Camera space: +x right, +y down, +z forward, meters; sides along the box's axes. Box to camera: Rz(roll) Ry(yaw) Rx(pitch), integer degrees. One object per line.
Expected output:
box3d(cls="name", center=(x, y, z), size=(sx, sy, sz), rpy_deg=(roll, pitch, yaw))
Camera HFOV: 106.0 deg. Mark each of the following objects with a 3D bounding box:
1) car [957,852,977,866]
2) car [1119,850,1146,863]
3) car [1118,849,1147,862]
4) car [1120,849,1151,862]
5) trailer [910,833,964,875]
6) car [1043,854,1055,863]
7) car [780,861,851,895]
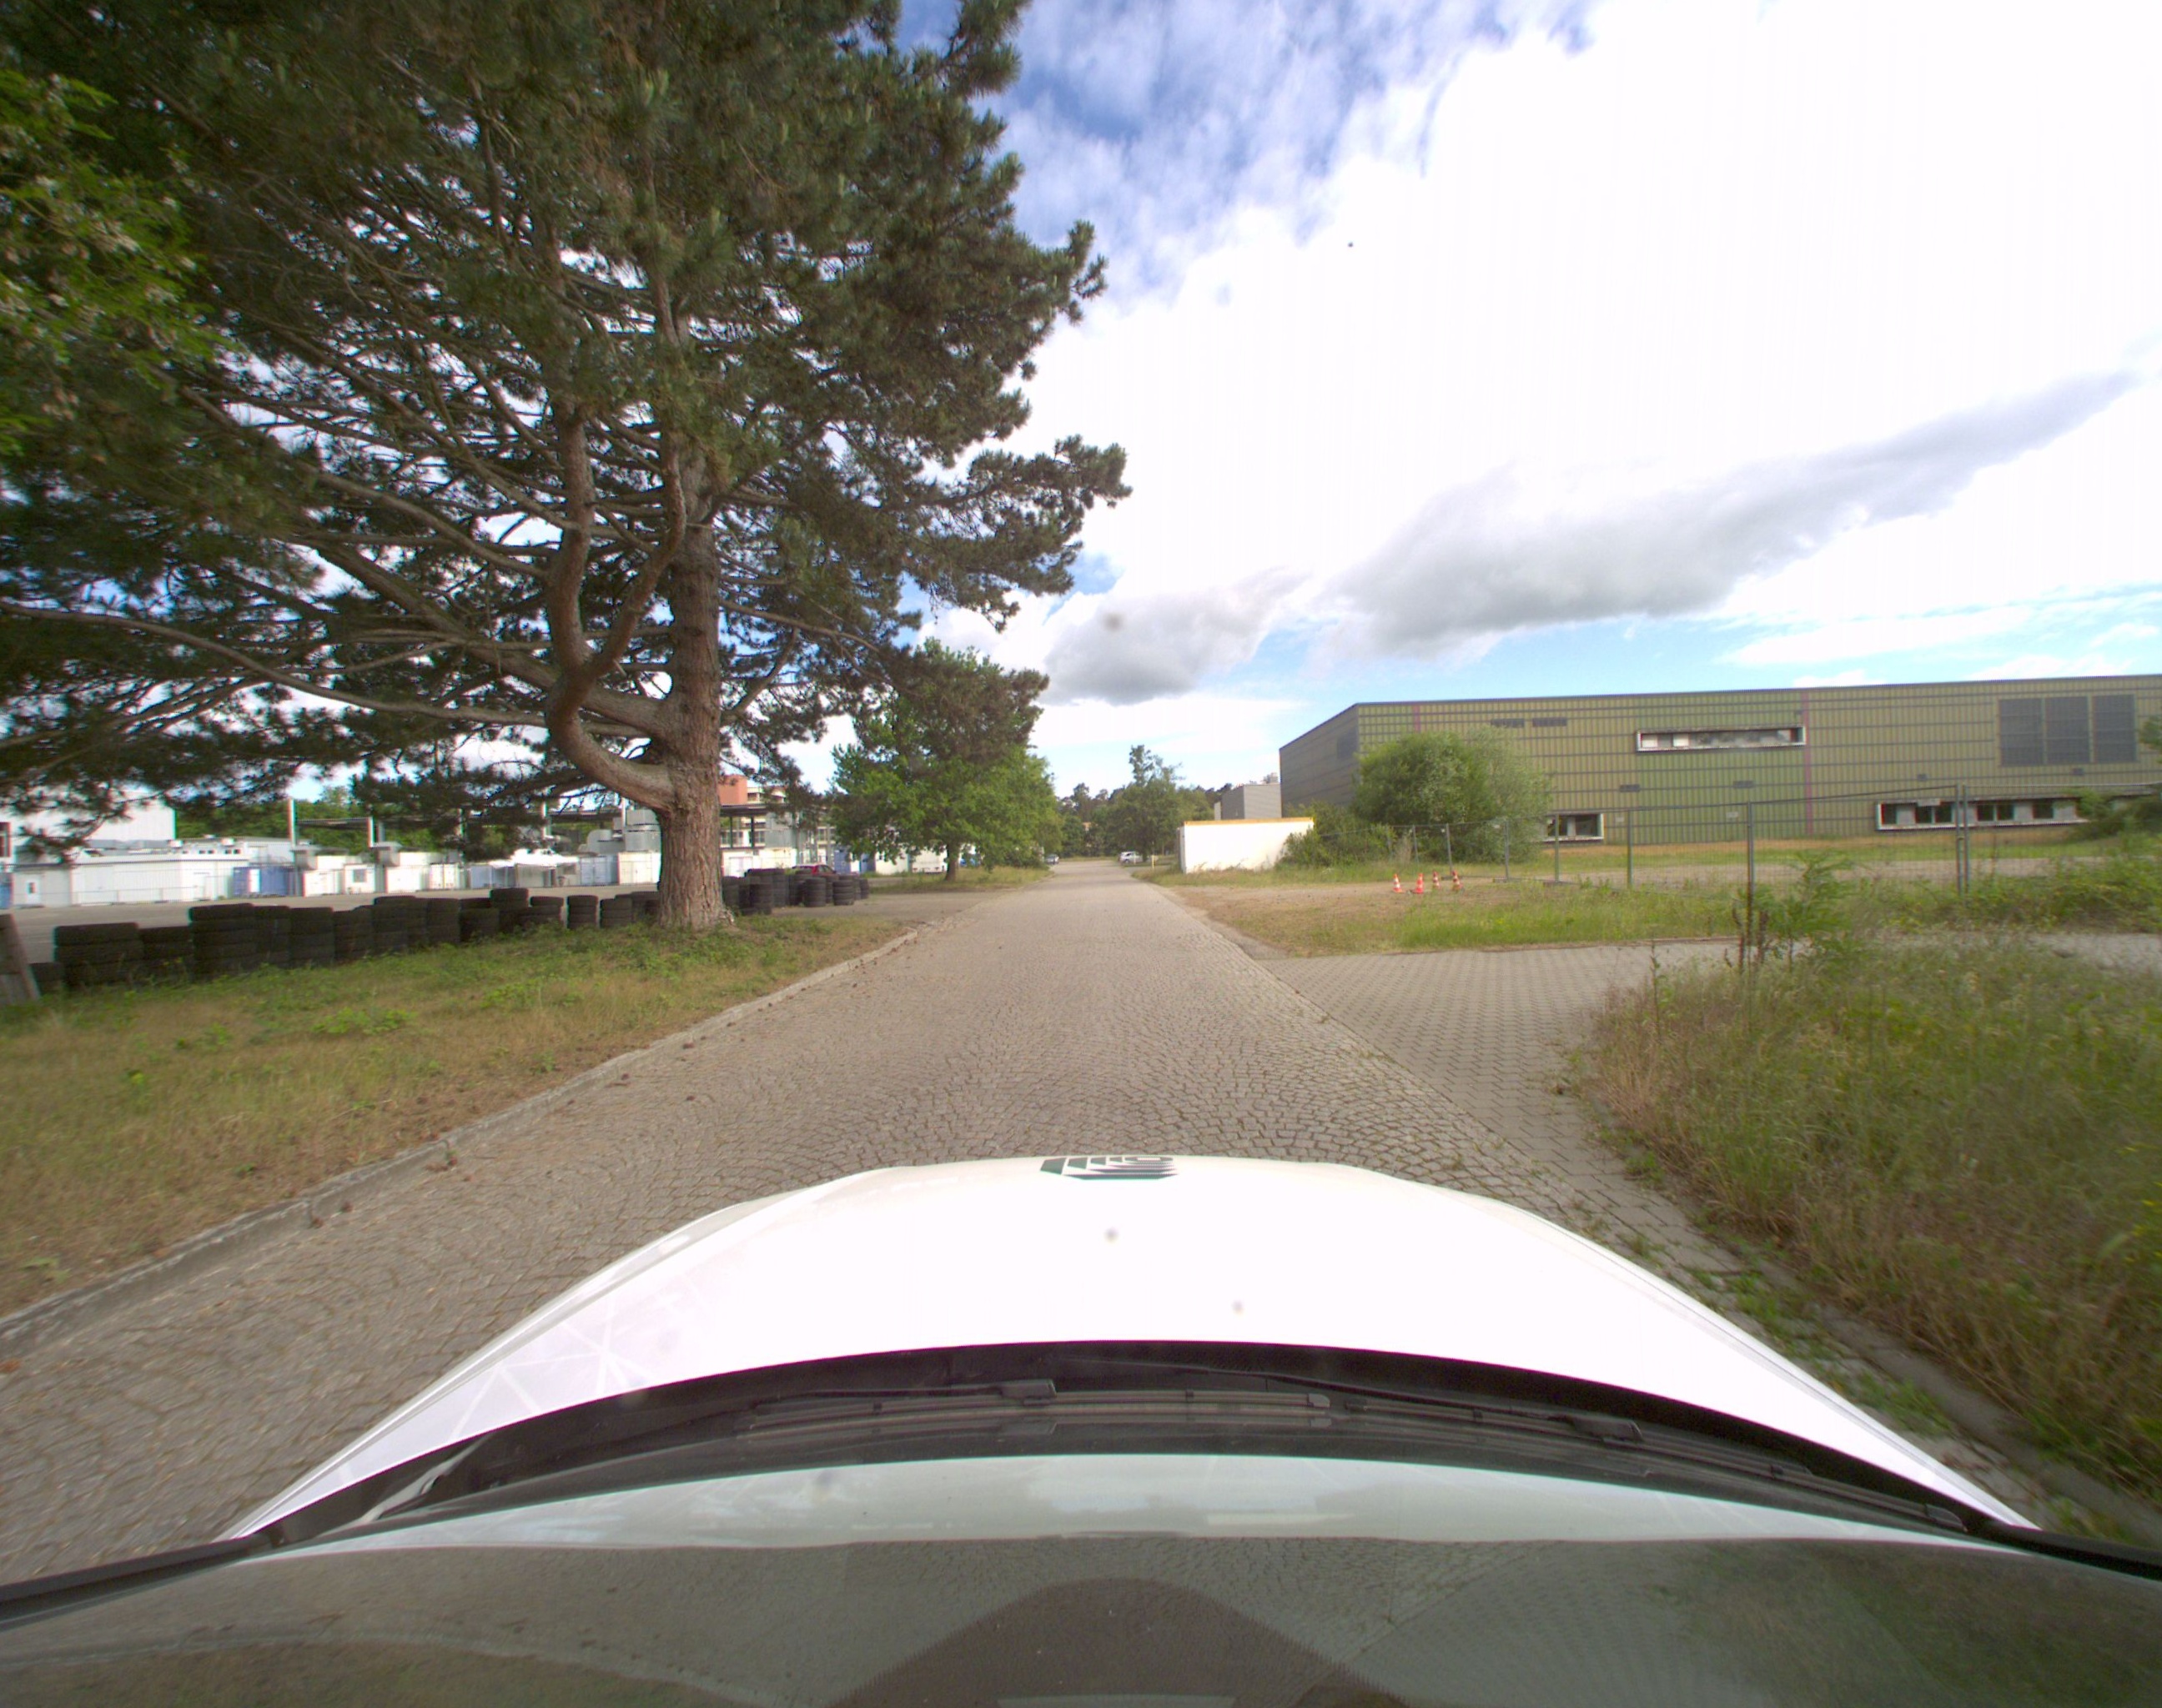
box3d(cls="car", center=(-16.348, 0.700, 117.332), size=(1.986, 2.013, 4.769), rpy_deg=(-2, 0, 2))
box3d(cls="car", center=(6.789, 0.341, 107.531), size=(3.510, 1.362, 1.623), rpy_deg=(-4, 0, 1))
box3d(cls="car", center=(7.265, 0.200, 115.354), size=(3.970, 1.475, 1.654), rpy_deg=(-4, 0, 1))
box3d(cls="car", center=(7.387, 0.225, 110.219), size=(3.970, 1.448, 1.654), rpy_deg=(-4, 0, 1))
box3d(cls="trailer", center=(-13.557, -0.038, 77.534), size=(2.614, 3.598, 10.187), rpy_deg=(-2, 0, 4))
box3d(cls="car", center=(-5.075, 0.671, 129.234), size=(1.642, 1.369, 3.999), rpy_deg=(-2, 0, 1))
box3d(cls="car", center=(-12.785, 1.118, 39.443), size=(1.617, 1.433, 4.072), rpy_deg=(-2, 1, 7))
